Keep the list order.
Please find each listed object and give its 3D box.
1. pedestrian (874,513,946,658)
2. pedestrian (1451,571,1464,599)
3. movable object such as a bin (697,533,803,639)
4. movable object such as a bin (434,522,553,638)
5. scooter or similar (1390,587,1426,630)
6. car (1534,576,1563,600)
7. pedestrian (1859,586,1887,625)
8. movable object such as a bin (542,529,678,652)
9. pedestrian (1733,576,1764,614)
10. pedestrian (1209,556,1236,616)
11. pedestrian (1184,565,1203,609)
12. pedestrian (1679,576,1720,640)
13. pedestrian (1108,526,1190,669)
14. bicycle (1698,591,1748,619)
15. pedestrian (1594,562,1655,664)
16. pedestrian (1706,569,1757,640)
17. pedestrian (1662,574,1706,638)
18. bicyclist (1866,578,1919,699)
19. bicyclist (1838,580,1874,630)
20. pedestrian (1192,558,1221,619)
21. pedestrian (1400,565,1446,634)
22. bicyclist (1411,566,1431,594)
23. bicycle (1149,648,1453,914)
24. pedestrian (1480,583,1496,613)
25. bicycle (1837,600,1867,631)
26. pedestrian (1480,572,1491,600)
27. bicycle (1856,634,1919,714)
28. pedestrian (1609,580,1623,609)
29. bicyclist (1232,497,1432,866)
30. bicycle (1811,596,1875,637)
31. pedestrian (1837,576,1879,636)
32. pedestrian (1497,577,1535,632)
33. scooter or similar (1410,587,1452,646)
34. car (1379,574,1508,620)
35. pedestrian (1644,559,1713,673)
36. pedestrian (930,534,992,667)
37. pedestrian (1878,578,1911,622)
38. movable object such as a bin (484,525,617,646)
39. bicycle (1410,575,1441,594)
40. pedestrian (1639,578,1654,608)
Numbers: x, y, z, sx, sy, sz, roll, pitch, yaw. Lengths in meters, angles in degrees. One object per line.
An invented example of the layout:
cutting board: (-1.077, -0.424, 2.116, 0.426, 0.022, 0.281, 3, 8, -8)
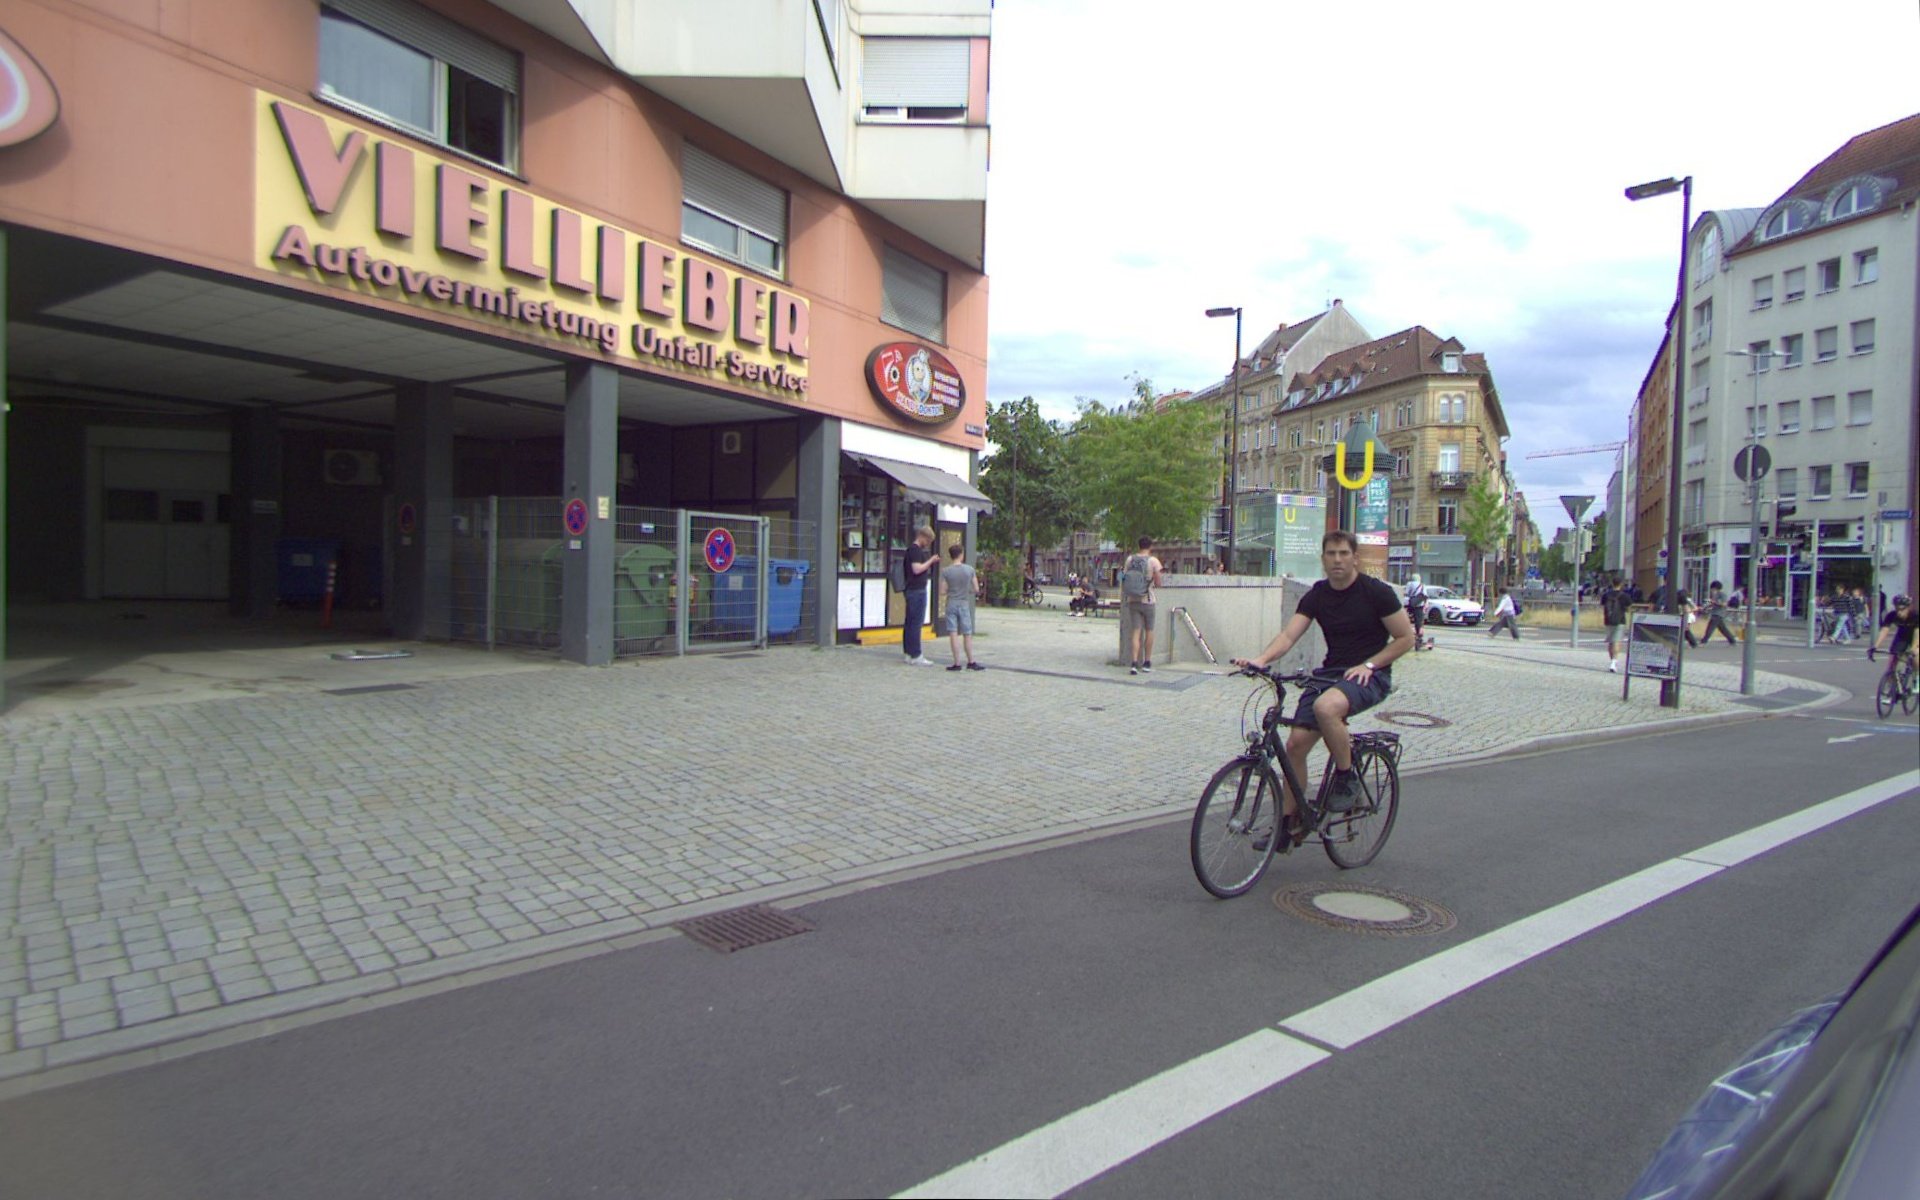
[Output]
pedestrian: (-0.697, -0.211, 14.024, 0.670, 1.926, 0.583, 6, 3, 33)
pedestrian: (30.381, -0.908, 61.819, 0.504, 1.705, 0.425, 2, 1, -12)
movable object such as a bin: (-3.213, -0.234, 15.499, 1.138, 1.534, 1.077, 3, 2, 31)
movable object such as a bin: (-6.561, -0.290, 14.269, 0.997, 1.534, 1.155, 3, 2, 31)
scooter or similar: (12.282, 0.229, 27.734, 0.597, 1.124, 0.702, 2, 2, -1)
car: (41.892, -0.894, 72.033, 1.681, 1.606, 3.622, 2, 2, 30)
pedestrian: (35.892, 0.210, 39.794, 0.586, 1.530, 0.624, 3, 1, 24)
movable object such as a bin: (-4.529, -0.141, 13.131, 1.140, 1.478, 1.211, 3, 2, 31)
pedestrian: (35.713, -0.229, 45.832, 0.702, 1.647, 0.795, 2, 1, -16)
pedestrian: (8.404, -0.454, 32.438, 0.572, 1.890, 0.491, 3, 1, -18)
pedestrian: (9.011, -0.507, 39.062, 0.430, 1.661, 0.680, 2, 1, -14)
pedestrian: (20.123, 0.221, 27.532, 0.779, 1.706, 0.471, 1, 1, -18)
pedestrian: (2.632, -0.048, 14.068, 0.654, 1.874, 0.959, 6, 4, 35)
bicycle: (35.894, 0.219, 47.620, 0.532, 1.219, 1.811, 2, 2, -23)
pedestrian: (12.494, 0.226, 19.056, 0.669, 1.821, 0.879, 5, 3, 24)
pedestrian: (21.219, 0.115, 27.843, 0.858, 1.877, 0.642, 2, 1, -14)
pedestrian: (20.162, 0.161, 28.179, 0.691, 1.716, 0.637, 2, 1, -14)
bicyclist: (13.192, 0.527, 14.012, 0.829, 1.624, 0.615, 1, 0, -18)
bicyclist: (29.549, 0.163, 33.382, 0.742, 1.578, 0.933, 3, 2, 38)
pedestrian: (7.835, -0.367, 32.185, 0.572, 1.890, 0.550, 3, 1, -18)
pedestrian: (12.292, -0.040, 26.897, 0.672, 1.761, 0.938, 2, 2, 0)
bicyclist: (27.526, -1.199, 60.457, 0.629, 1.623, 0.865, 1, 1, -21)
bicycle: (1.838, 0.845, 5.271, 1.979, 1.136, 0.407, 1, 1, -36)
pedestrian: (30.605, -0.097, 58.682, 0.596, 1.706, 0.731, -1, 1, 10)
bicycle: (29.500, 0.506, 33.480, 0.540, 0.962, 1.783, 3, 2, 37)
pedestrian: (32.298, -0.843, 62.199, 0.419, 1.705, 0.512, 3, 1, 20)
bicycle: (13.272, 1.002, 14.020, 1.711, 1.013, 0.490, 0, 1, -19)
pedestrian: (39.366, -0.339, 60.739, 0.585, 1.743, 0.515, 2, 2, 25)
bicyclist: (1.926, 0.375, 5.228, 0.847, 1.730, 0.560, 1, 2, -39)
bicycle: (26.044, 0.486, 29.848, 1.792, 1.124, 0.399, 2, 1, -13)
pedestrian: (26.045, 0.163, 29.354, 0.711, 1.706, 0.522, 2, 1, -13)
pedestrian: (15.623, 0.118, 28.425, 0.830, 1.519, 0.554, -1, 2, -29)
scooter or similar: (10.092, 0.340, 21.660, 1.105, 1.227, 0.286, 0, 2, -37)
car: (18.272, -0.173, 38.512, 1.958, 1.530, 4.614, 0, 3, -13)
pedestrian: (13.203, 0.276, 18.633, 0.714, 1.995, 1.005, 5, 3, 26)
pedestrian: (0.016, -0.002, 13.474, 0.471, 1.693, 0.583, 6, 3, 32)
pedestrian: (36.478, -0.021, 39.507, 0.699, 1.668, 0.715, 3, 1, 24)
movable object such as a bin: (-5.552, -0.214, 13.748, 1.188, 1.534, 1.184, 3, 2, 31)
bicycle: (27.727, -0.942, 60.283, 0.383, 1.100, 1.925, 1, 2, -20)
pedestrian: (40.695, -0.430, 59.987, 0.535, 1.743, 0.516, 2, 1, 22)
